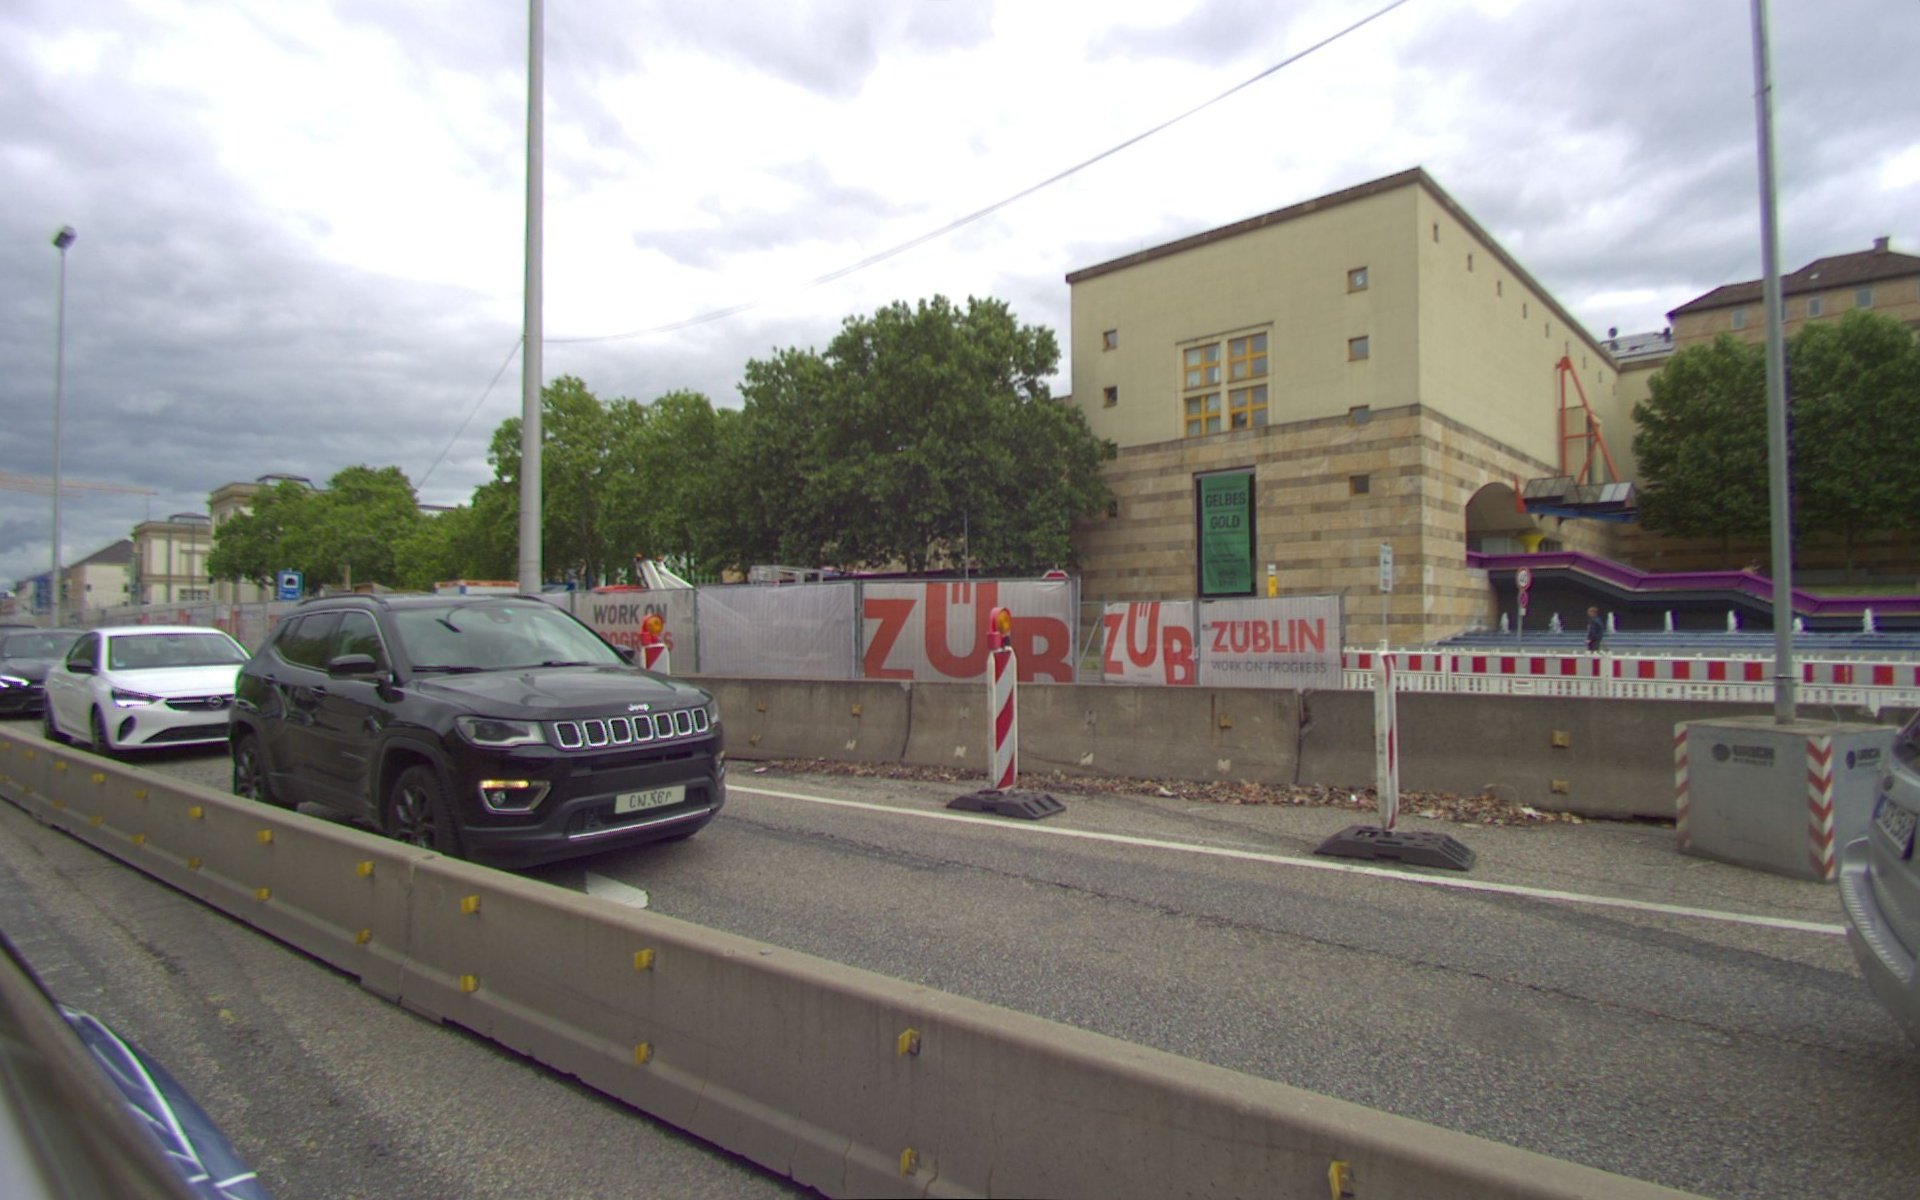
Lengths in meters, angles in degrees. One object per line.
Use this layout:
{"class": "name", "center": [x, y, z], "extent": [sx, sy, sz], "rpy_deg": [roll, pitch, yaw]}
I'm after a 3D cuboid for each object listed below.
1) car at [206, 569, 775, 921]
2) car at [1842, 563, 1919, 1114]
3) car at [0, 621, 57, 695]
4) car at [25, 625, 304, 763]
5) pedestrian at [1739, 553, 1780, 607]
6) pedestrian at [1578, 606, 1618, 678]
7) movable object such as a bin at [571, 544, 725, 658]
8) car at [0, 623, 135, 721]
{"class": "car", "center": [-3.241, 0.695, 6.648], "extent": [4.040, 1.633, 1.759], "rpy_deg": [-1, -1, 38]}
{"class": "car", "center": [4.603, 0.611, 1.536], "extent": [4.693, 1.492, 1.862], "rpy_deg": [-1, -1, 35]}
{"class": "car", "center": [-21.551, 1.274, 22.661], "extent": [3.000, 1.566, 1.613], "rpy_deg": [-1, -1, 40]}
{"class": "car", "center": [-9.431, 0.976, 11.900], "extent": [3.929, 1.306, 1.710], "rpy_deg": [-1, 0, 38]}
{"class": "pedestrian", "center": [30.991, -0.777, 39.233], "extent": [0.907, 2.029, 1.094], "rpy_deg": [-2, 1, -43]}
{"class": "pedestrian", "center": [18.393, 1.195, 29.171], "extent": [0.815, 2.029, 0.836], "rpy_deg": [-1, 1, 43]}
{"class": "movable object such as a bin", "center": [-6.552, 0.062, 21.155], "extent": [3.288, 2.202, 1.507], "rpy_deg": [-2, -2, 38]}
{"class": "car", "center": [-15.652, 1.130, 17.123], "extent": [4.562, 1.426, 1.835], "rpy_deg": [-1, 0, 40]}
